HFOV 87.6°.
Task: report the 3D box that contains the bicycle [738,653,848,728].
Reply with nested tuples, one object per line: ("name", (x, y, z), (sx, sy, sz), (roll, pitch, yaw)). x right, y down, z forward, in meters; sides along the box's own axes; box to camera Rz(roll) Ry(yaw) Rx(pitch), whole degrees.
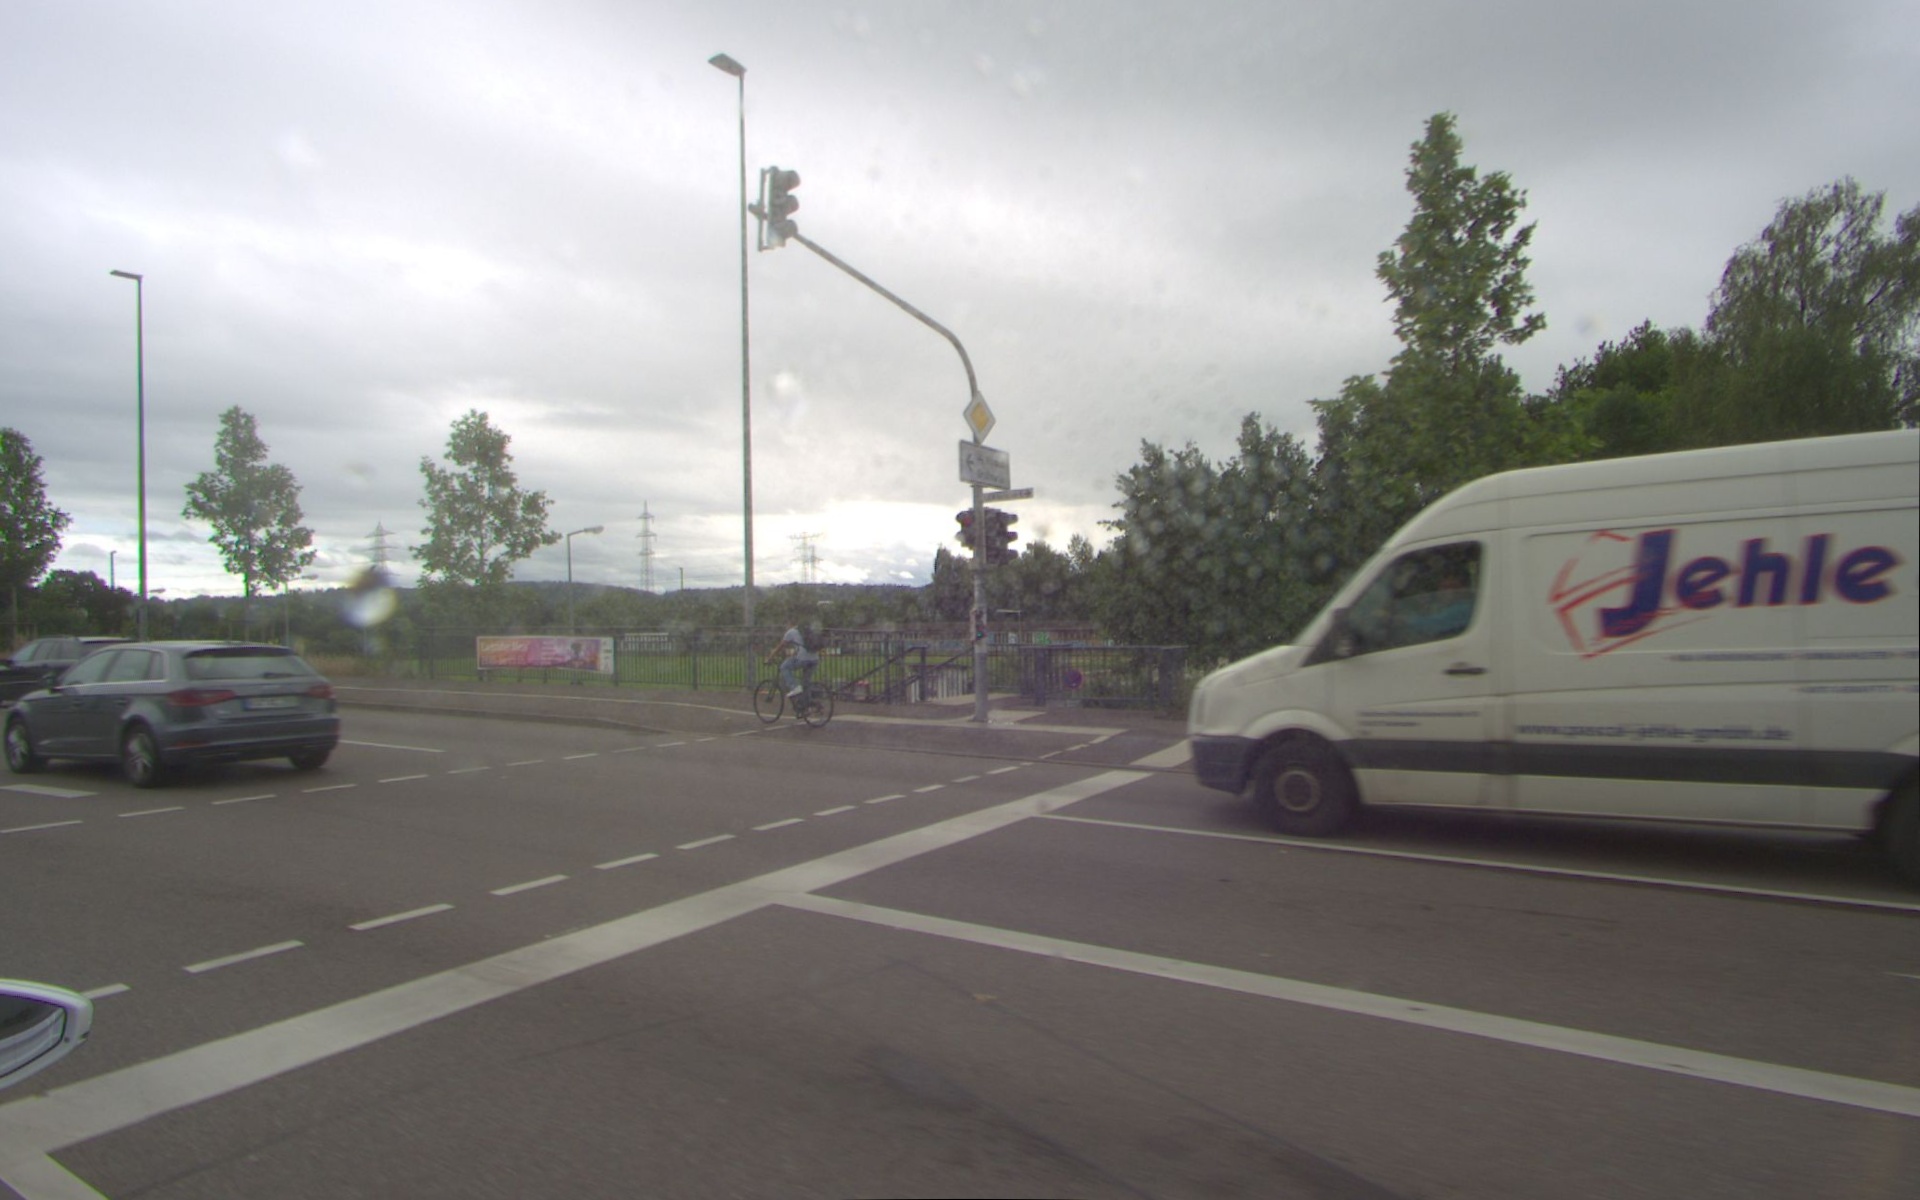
("bicycle", (-2.572, 1.366, 15.361), (1.683, 1.059, 0.546), (-1, 1, 30))

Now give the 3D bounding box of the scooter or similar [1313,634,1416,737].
("scooter or similar", (5.222, 1.078, 12.954), (1.141, 1.260, 0.474), (-1, 1, 40))

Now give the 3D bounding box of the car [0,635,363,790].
("car", (-8.671, 1.113, 11.053), (4.013, 1.419, 1.737), (-1, -1, 28))

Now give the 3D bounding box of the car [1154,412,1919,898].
("car", (4.663, 0.359, 7.400), (5.813, 2.659, 2.653), (-1, -2, 31))

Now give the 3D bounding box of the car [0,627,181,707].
("car", (-18.079, 1.318, 20.493), (4.250, 1.497, 1.735), (-1, -2, 27))

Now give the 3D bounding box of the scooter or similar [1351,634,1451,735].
("scooter or similar", (5.770, 1.078, 13.117), (1.139, 1.260, 0.389), (-1, 1, 35))

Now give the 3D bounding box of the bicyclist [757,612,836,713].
("bicyclist", (-2.486, 0.925, 15.272), (0.953, 1.472, 0.689), (0, 1, 30))
